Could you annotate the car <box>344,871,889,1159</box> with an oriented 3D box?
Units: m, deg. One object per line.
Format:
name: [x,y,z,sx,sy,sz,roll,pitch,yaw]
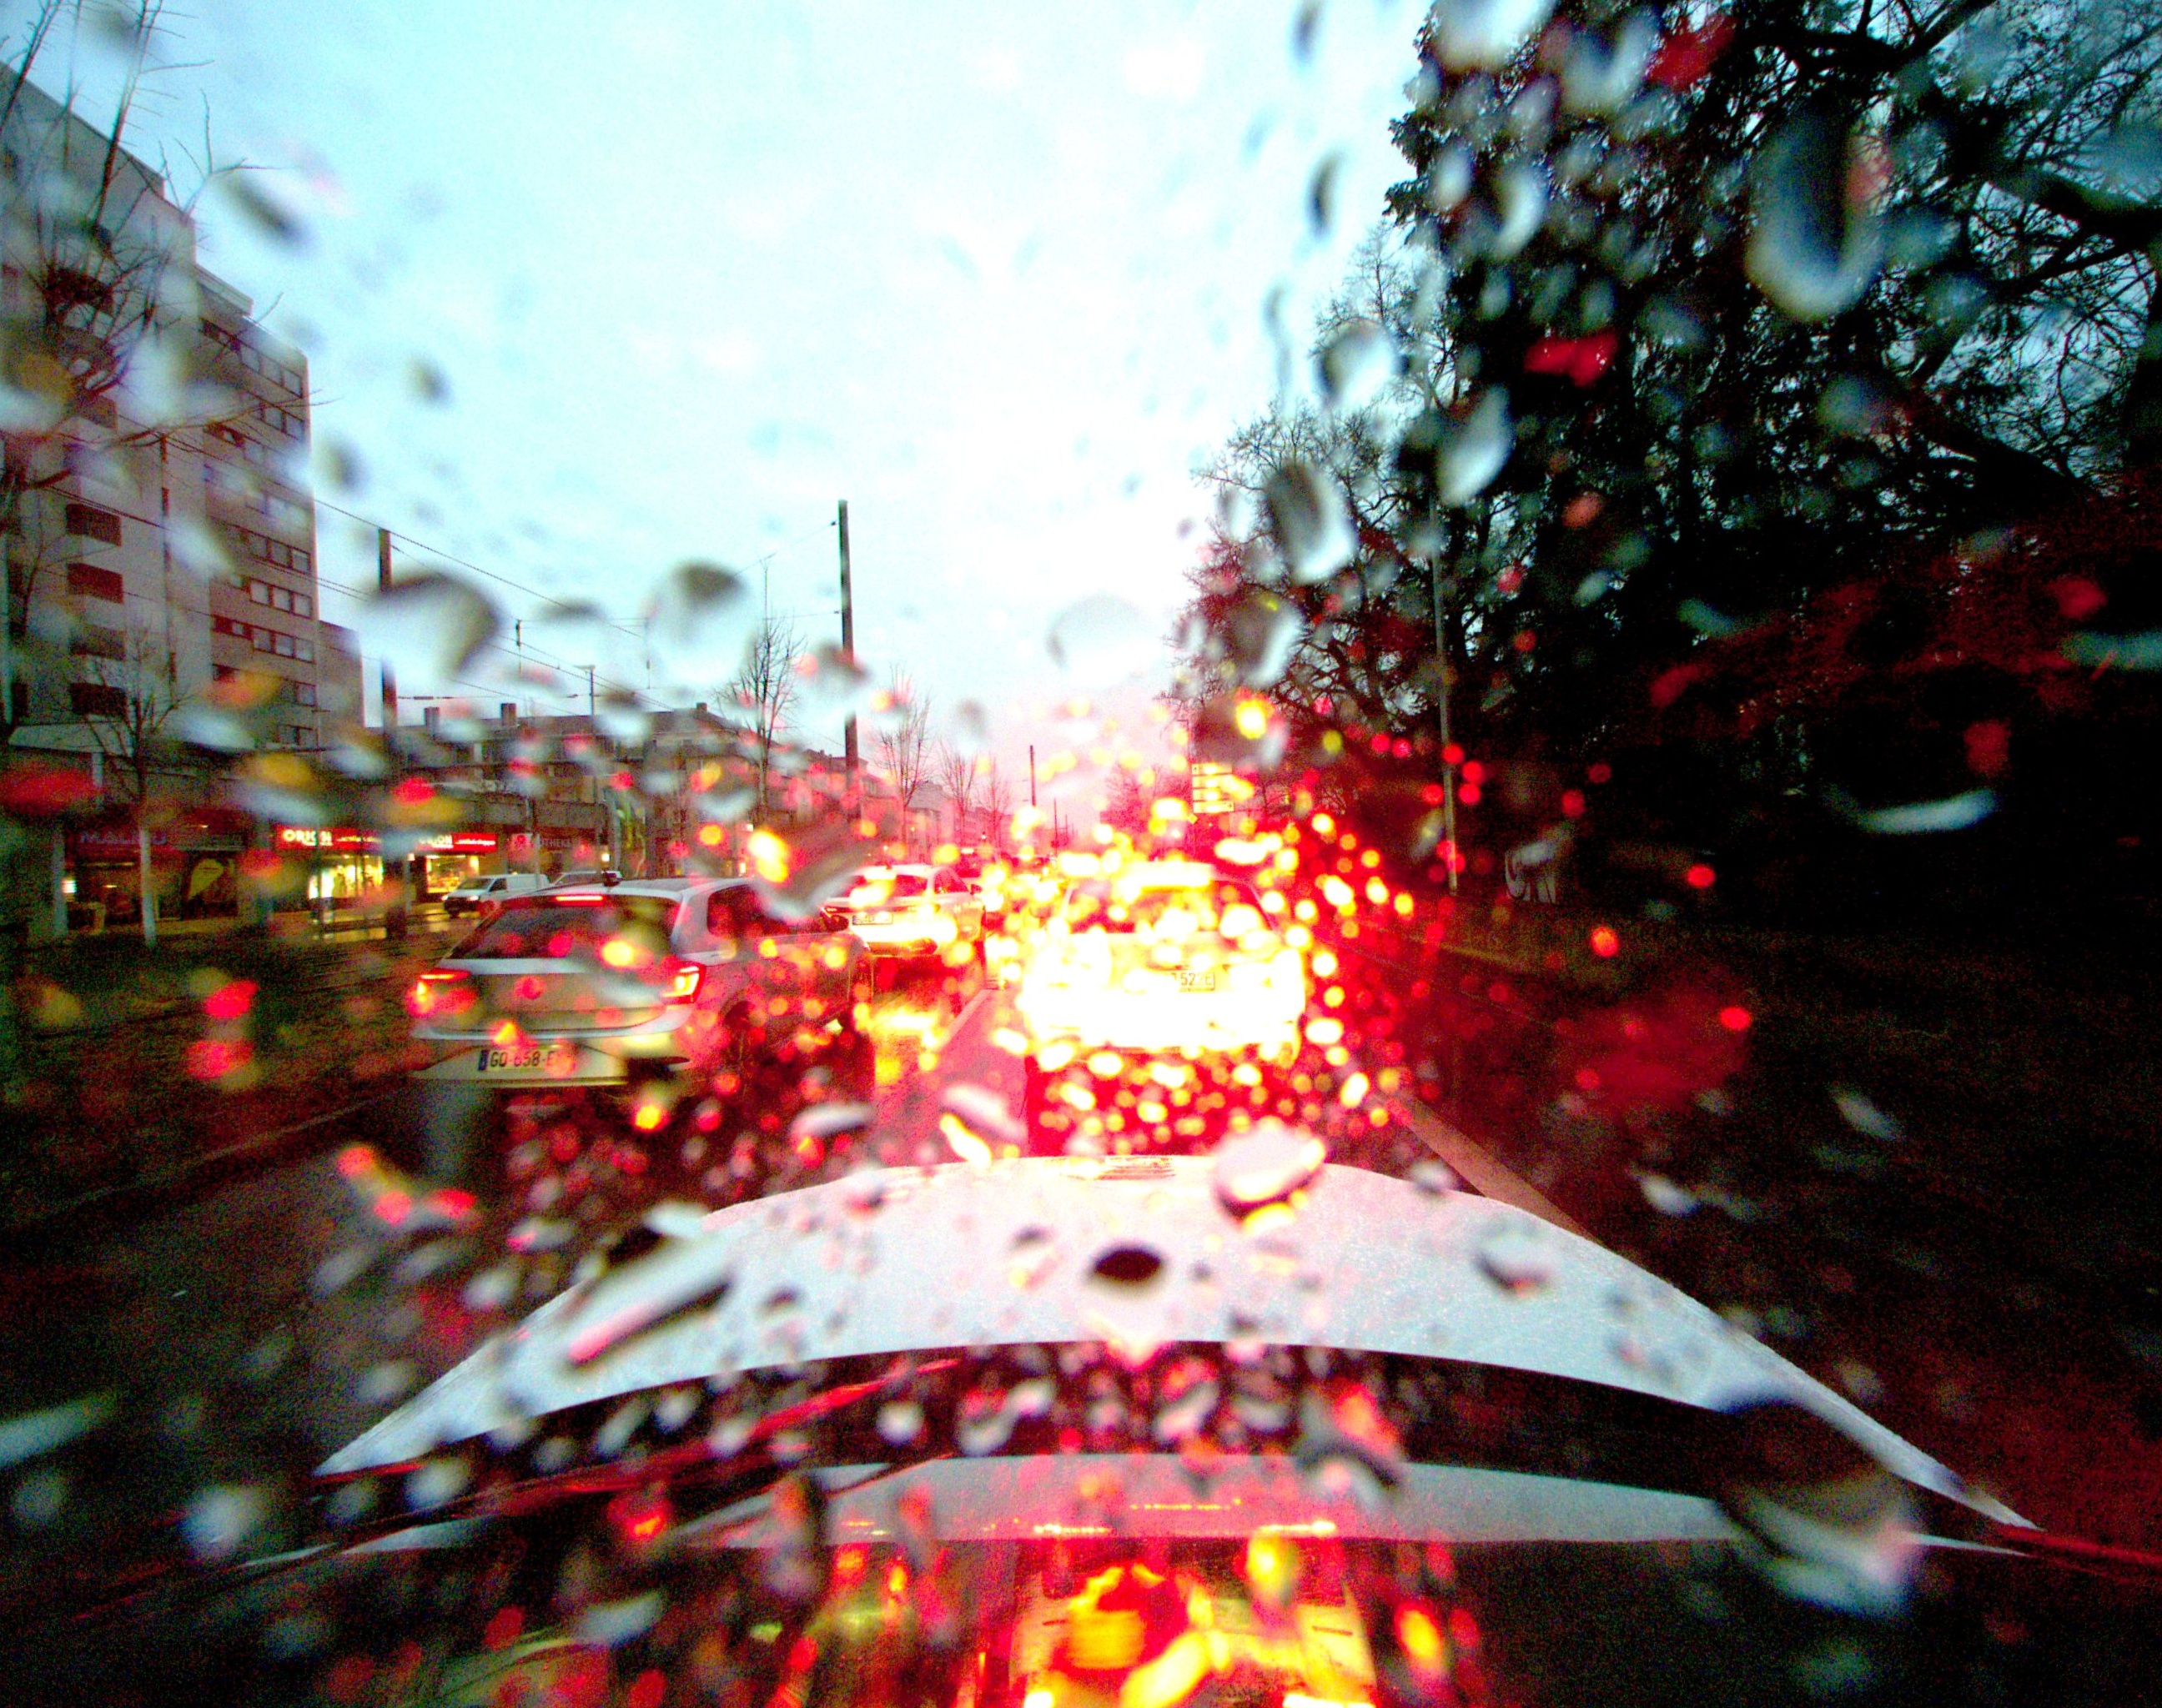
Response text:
car: [-2.830,0.856,6.127,1.756,1.371,3.981,-1,0,1]

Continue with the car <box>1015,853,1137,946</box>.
car: [-0.017,0.727,15.184,1.928,1.457,4.165,-1,0,2]

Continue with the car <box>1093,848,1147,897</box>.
car: [1.410,0.622,29.923,1.800,1.646,4.002,-1,0,2]

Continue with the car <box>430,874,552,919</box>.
car: [-29.735,2.071,41.286,1.984,1.912,5.171,-3,0,5]

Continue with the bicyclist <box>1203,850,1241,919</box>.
bicyclist: [2.941,0.615,17.014,0.642,1.389,0.891,-2,0,4]

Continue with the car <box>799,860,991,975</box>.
car: [-2.616,0.825,12.652,1.840,1.405,4.614,-1,0,1]

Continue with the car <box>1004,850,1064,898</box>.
car: [-1.661,0.684,30.064,1.800,1.646,4.002,-1,0,2]

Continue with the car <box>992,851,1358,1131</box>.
car: [0.586,0.758,6.605,1.992,1.508,4.165,-1,0,2]

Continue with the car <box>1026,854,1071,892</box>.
car: [-1.466,0.836,38.240,1.800,1.646,4.002,-1,0,2]

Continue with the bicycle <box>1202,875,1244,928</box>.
bicycle: [2.959,0.965,17.124,0.642,0.966,2.049,-2,0,4]

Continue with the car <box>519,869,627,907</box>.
car: [-30.724,2.011,49.363,5.193,1.912,1.975,-3,0,-44]

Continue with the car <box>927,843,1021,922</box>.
car: [-2.578,0.656,20.666,1.788,1.736,4.536,-1,0,-1]
